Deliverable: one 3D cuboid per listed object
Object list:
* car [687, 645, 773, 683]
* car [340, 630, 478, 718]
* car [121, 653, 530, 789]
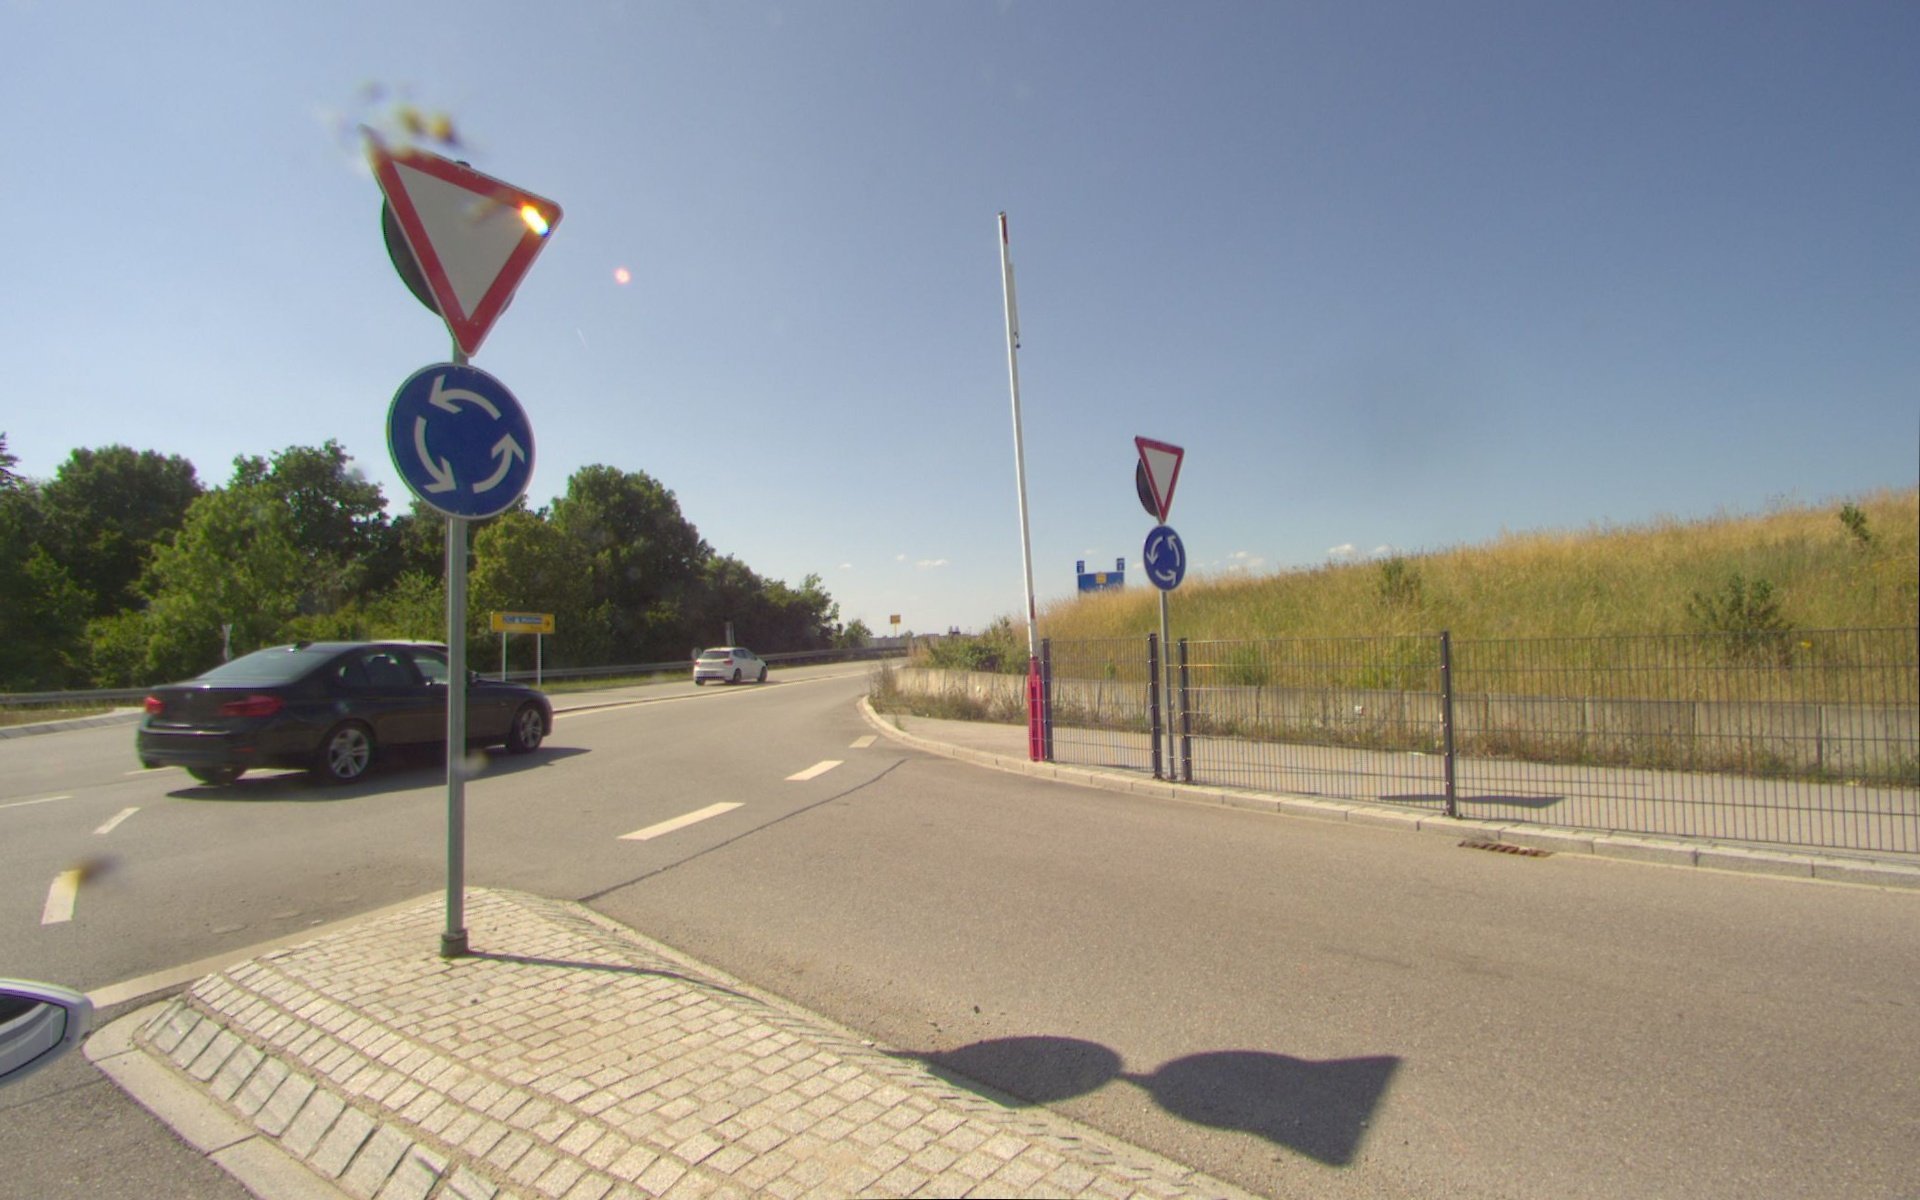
[{"bbox_3d":[-9.099,2.523,40.057,1.758,1.422,4.417,-1,-3,10],"label":"car"},{"bbox_3d":[-11.593,1.478,20.914,1.826,1.616,4.291,0,-2,-39],"label":"car"},{"bbox_3d":[-6.696,1.211,11.132,1.645,1.197,3.865,-1,-3,11],"label":"car"}]
